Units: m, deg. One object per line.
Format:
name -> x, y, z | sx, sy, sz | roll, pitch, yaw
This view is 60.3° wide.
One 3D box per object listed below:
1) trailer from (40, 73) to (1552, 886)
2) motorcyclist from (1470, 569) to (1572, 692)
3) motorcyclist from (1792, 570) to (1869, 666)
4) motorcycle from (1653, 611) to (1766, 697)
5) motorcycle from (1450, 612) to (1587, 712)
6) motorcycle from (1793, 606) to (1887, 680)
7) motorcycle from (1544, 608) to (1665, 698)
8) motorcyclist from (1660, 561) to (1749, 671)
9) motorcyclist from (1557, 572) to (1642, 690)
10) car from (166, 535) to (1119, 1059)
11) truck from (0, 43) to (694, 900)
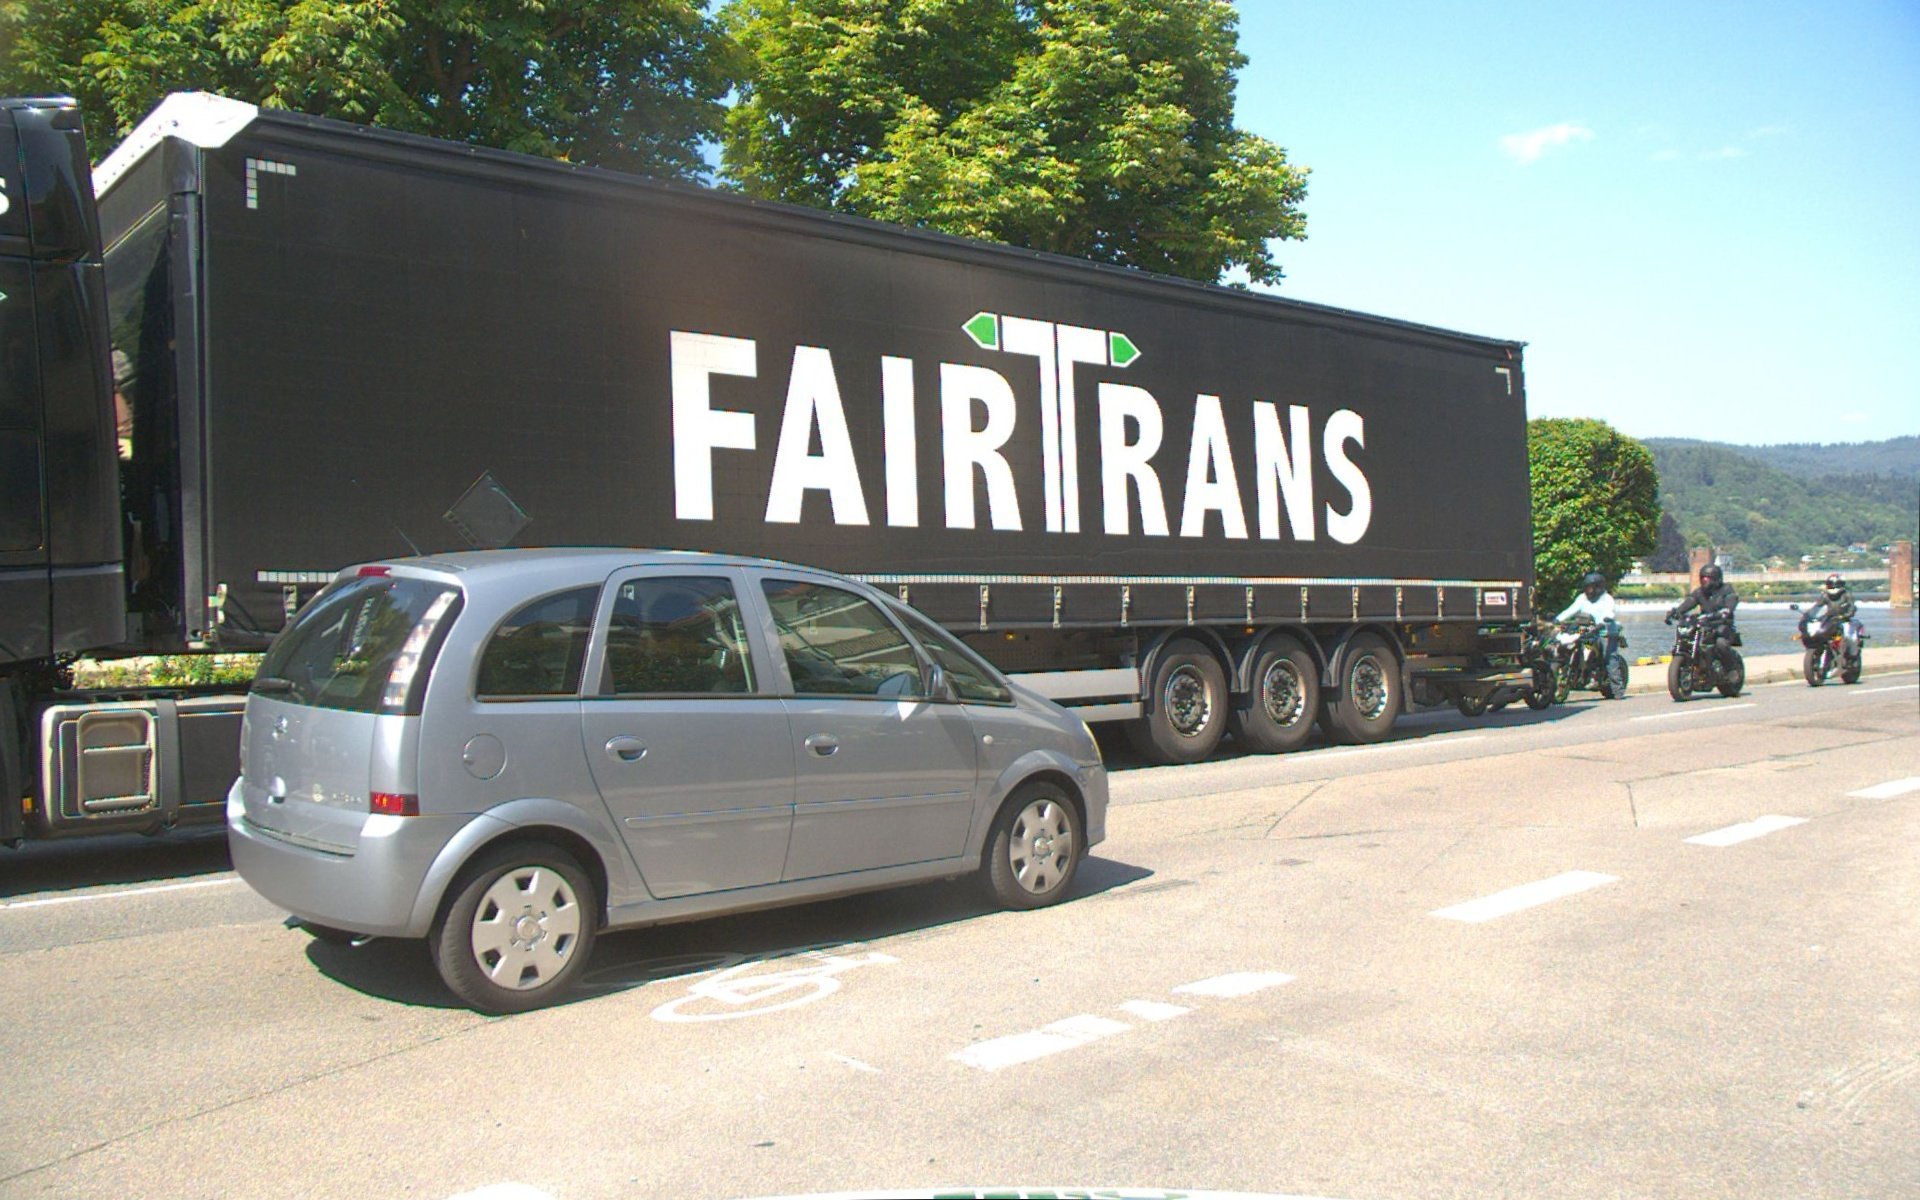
trailer -> 0.153, -0.666, 14.058 | 13.649, 4.176, 2.800 | -1, -2, -41
motorcyclist -> 6.945, 0.376, 20.463 | 0.983, 1.486, 0.769 | -1, -2, -41
motorcyclist -> 12.955, 0.265, 24.611 | 0.928, 1.390, 0.709 | 0, -1, -41
motorcycle -> 9.697, 0.674, 21.372 | 1.799, 1.042, 0.649 | -1, -1, -42
motorcycle -> 6.922, 0.754, 20.445 | 2.075, 1.143, 0.625 | -1, -2, -42
motorcycle -> 13.157, 0.628, 24.707 | 1.799, 1.042, 0.649 | -1, -1, -42
motorcycle -> 8.794, 0.704, 22.526 | 2.075, 1.143, 0.625 | -1, -2, -42
motorcyclist -> 9.608, 0.204, 21.341 | 0.793, 1.390, 0.777 | 0, -1, -41
motorcyclist -> 8.688, 0.416, 22.459 | 0.983, 1.551, 0.655 | -1, -2, -42
car -> -1.169, 0.594, 7.059 | 3.709, 1.639, 1.666 | -1, 1, -43
truck -> -4.854, -0.591, 9.629 | 5.880, 4.143, 2.797 | -1, -2, -41
